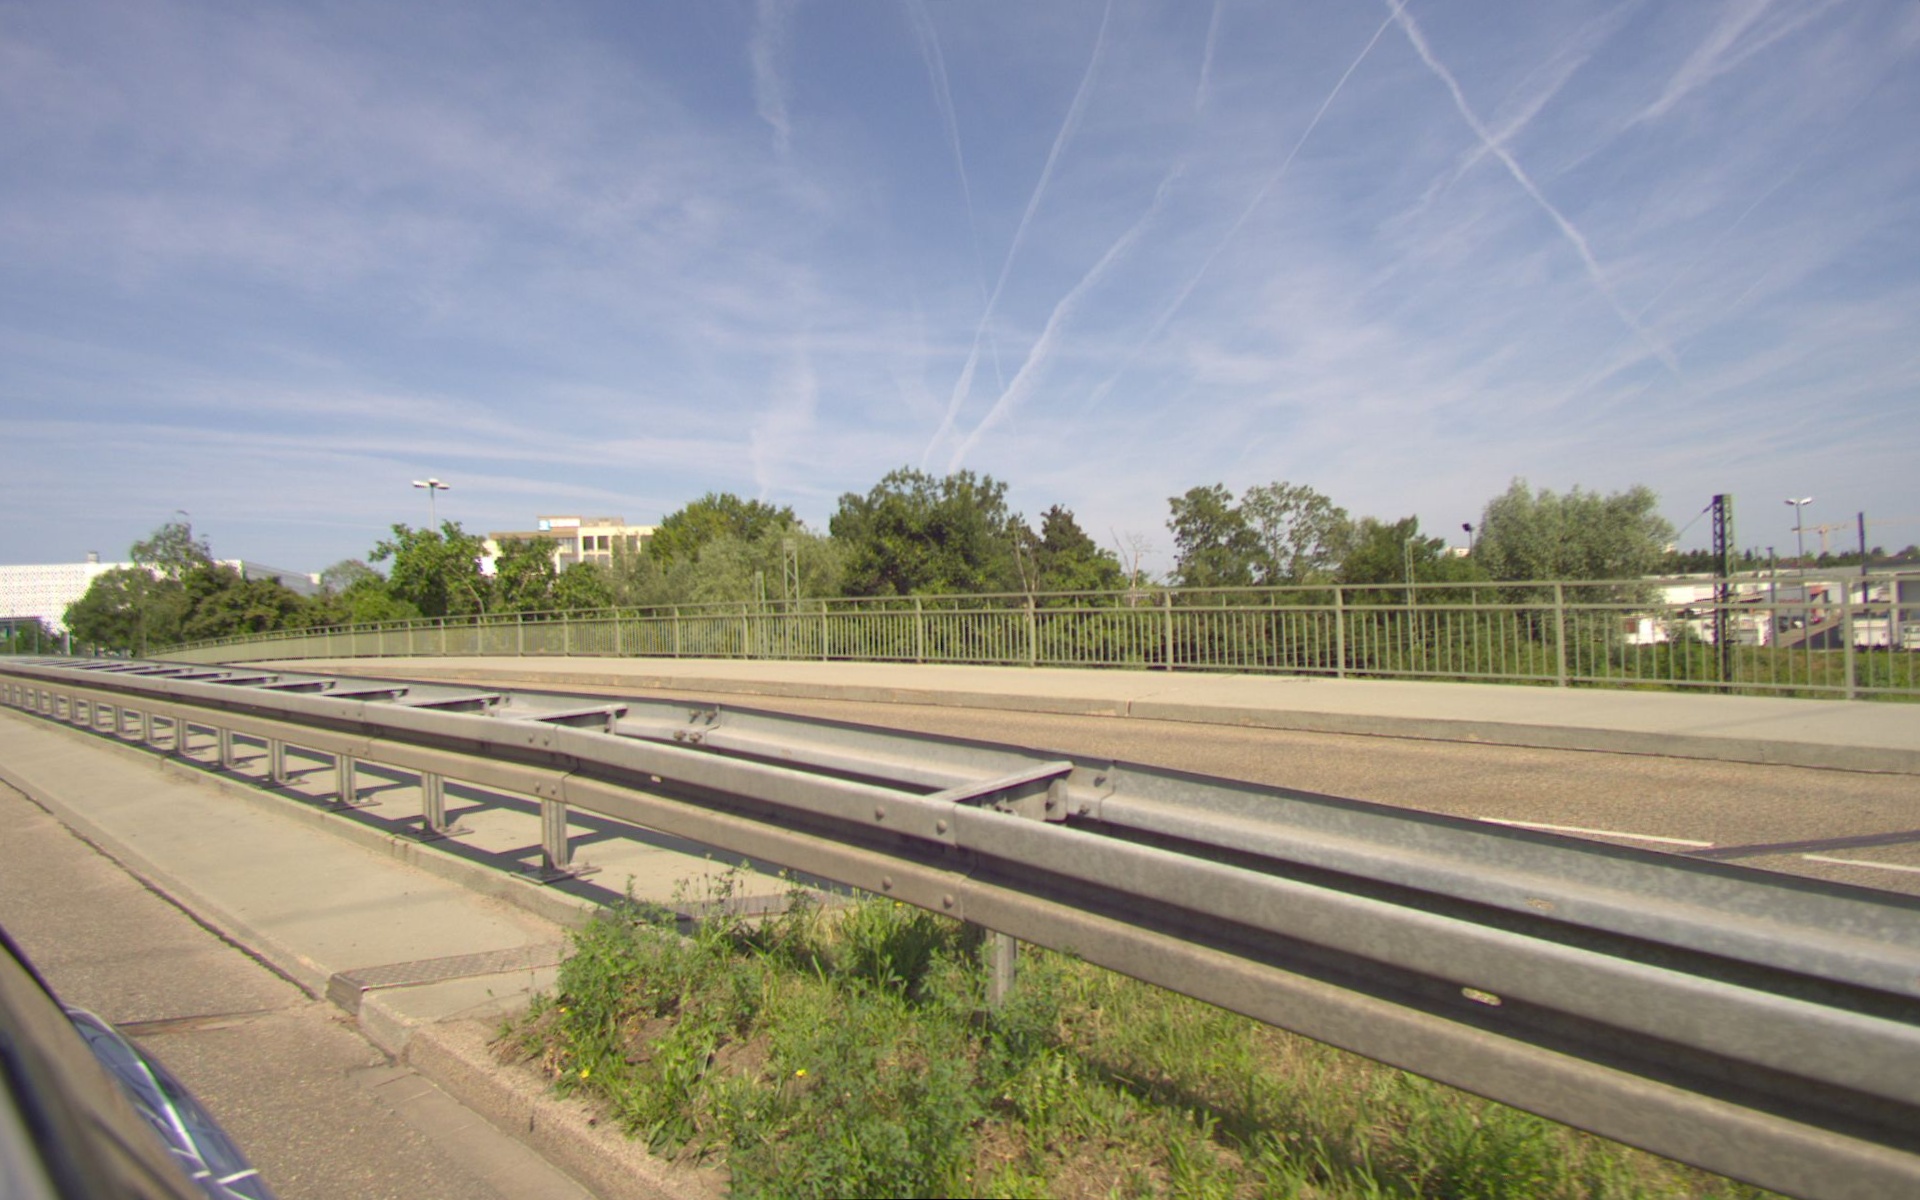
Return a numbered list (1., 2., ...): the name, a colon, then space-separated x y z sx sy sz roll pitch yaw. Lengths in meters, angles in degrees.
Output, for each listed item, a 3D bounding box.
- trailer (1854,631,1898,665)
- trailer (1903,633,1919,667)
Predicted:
1. trailer: 83.300 4.317 92.113 2.615 2.832 6.686 -4 -3 41
2. trailer: 86.381 4.398 90.422 2.615 2.832 6.686 -4 -3 41
